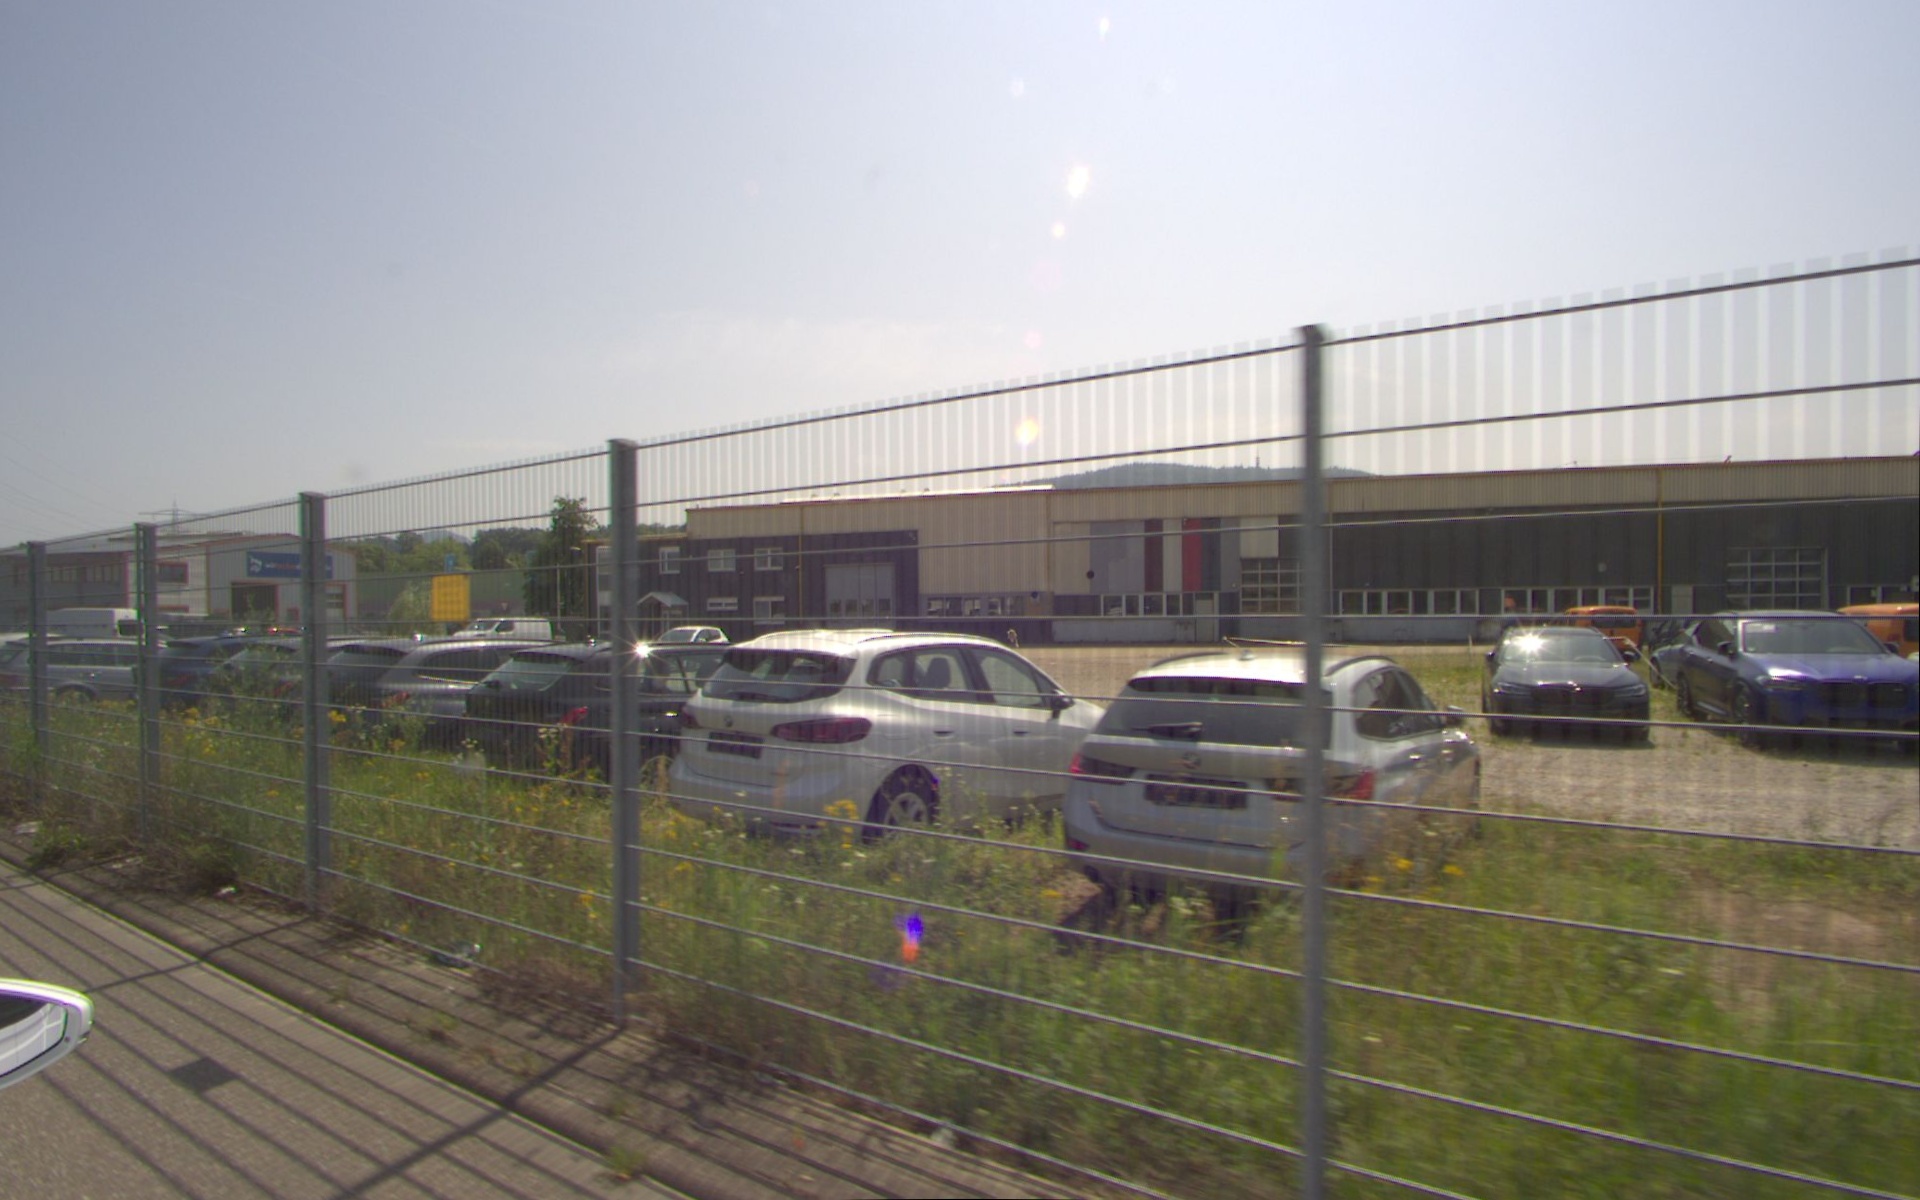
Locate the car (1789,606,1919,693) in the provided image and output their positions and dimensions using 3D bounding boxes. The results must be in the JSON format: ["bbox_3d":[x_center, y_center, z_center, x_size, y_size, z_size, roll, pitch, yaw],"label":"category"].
[{"bbox_3d":[17.593,0.867,19.034,1.561,1.481,3.821,0,0,19],"label":"car"}]

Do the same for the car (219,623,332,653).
[{"bbox_3d":[-31.632,1.736,46.388,3.853,1.294,1.907,0,-1,-6],"label":"car"}]

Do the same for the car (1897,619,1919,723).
[{"bbox_3d":[13.873,1.012,12.618,1.583,1.456,3.765,0,0,19],"label":"car"}]

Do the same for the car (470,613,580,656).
[{"bbox_3d":[-20.497,1.576,47.429,1.825,1.924,5.066,-1,-1,20],"label":"car"}]

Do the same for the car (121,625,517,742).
[{"bbox_3d":[-9.021,1.154,14.495,1.745,1.423,4.498,-1,-4,36],"label":"car"}]

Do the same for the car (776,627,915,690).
[{"bbox_3d":[-2.714,1.376,24.889,1.598,1.368,4.515,-1,-1,20],"label":"car"}]

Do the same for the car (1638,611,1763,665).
[{"bbox_3d":[23.084,1.120,31.421,1.721,1.505,4.383,0,0,17],"label":"car"}]

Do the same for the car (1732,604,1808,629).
[{"bbox_3d":[46.635,0.946,57.766,1.963,1.349,3.980,0,0,16],"label":"car"}]

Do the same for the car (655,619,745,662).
[{"bbox_3d":[-9.388,1.428,36.391,1.508,1.454,3.662,-1,-1,16],"label":"car"}]

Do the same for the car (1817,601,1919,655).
[{"bbox_3d":[28.088,0.797,30.066,1.938,1.505,4.383,0,0,17],"label":"car"}]

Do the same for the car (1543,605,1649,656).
[{"bbox_3d":[20.354,0.924,32.262,1.721,1.505,4.383,0,0,17],"label":"car"}]

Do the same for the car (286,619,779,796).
[{"bbox_3d":[-4.110,0.988,10.452,1.812,1.423,4.503,-1,-3,32],"label":"car"}]

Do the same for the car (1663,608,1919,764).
[{"bbox_3d":[11.001,0.966,13.285,1.846,1.671,4.462,0,0,23],"label":"car"}]

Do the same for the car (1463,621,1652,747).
[{"bbox_3d":[8.448,1.088,14.476,1.583,1.456,3.765,0,0,19],"label":"car"}]

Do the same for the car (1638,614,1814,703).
[{"bbox_3d":[14.723,1.039,19.485,1.561,1.481,3.821,0,0,19],"label":"car"}]

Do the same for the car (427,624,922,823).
[{"bbox_3d":[-2.402,1.017,9.391,1.816,1.423,4.197,-1,-4,38],"label":"car"}]

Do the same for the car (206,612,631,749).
[{"bbox_3d":[-6.578,0.974,12.722,1.615,1.423,4.501,-1,-4,34],"label":"car"}]

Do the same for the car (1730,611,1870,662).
[{"bbox_3d":[26.037,1.086,31.222,1.964,1.483,3.993,0,0,18],"label":"car"}]

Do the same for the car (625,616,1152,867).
[{"bbox_3d":[-0.275,0.939,7.924,1.816,1.423,4.197,-1,-4,38],"label":"car"}]

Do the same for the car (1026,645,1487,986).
[{"bbox_3d":[2.226,1.050,6.516,1.812,1.423,4.205,-1,-4,32],"label":"car"}]

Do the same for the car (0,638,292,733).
[{"bbox_3d":[-14.584,1.466,17.832,1.614,1.492,4.160,-1,-4,31],"label":"car"}]
